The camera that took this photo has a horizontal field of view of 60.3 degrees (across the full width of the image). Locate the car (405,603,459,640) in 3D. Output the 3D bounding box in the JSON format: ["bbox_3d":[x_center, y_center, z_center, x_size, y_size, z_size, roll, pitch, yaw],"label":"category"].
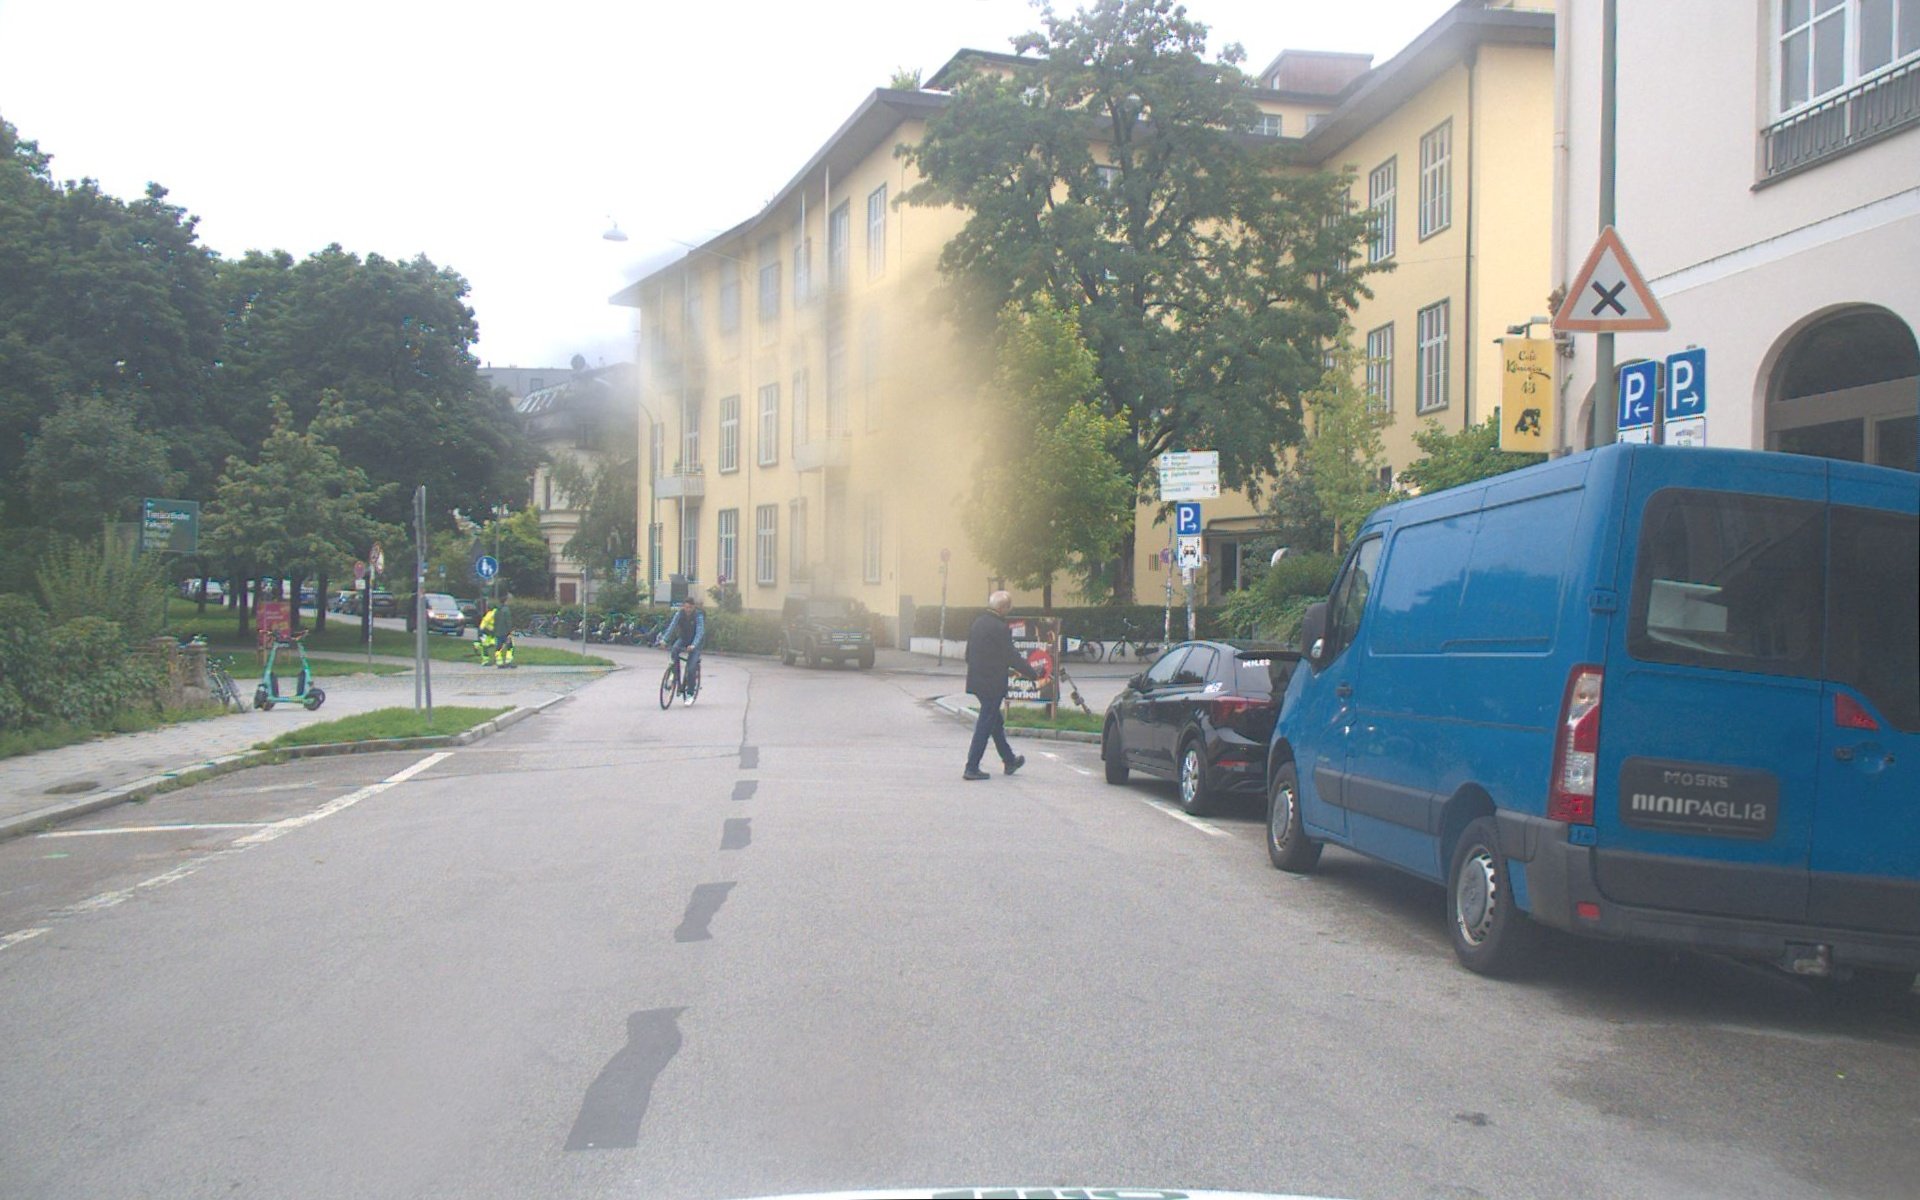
[{"bbox_3d":[-22.977,0.935,71.865,1.888,1.496,3.972,1,0,-23],"label":"car"}]

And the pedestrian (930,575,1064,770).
[{"bbox_3d":[0.361,0.711,16.218,0.949,1.832,0.920,2,-4,-44],"label":"pedestrian"}]

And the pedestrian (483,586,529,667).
[{"bbox_3d":[-11.739,0.675,42.807,0.913,2.049,0.956,1,0,-3],"label":"pedestrian"}]

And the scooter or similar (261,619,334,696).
[{"bbox_3d":[-10.787,0.926,26.947,0.338,1.209,1.117,1,0,31],"label":"scooter or similar"}]

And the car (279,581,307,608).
[{"bbox_3d":[-54.360,-0.446,134.805,1.967,2.197,3.970,1,0,-24],"label":"car"}]

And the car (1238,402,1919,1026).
[{"bbox_3d":[3.219,0.548,8.958,2.038,2.272,5.239,5,-2,-4],"label":"car"}]

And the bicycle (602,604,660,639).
[{"bbox_3d":[-12.596,0.828,63.357,2.140,1.328,0.722,1,0,-45],"label":"bicycle"}]

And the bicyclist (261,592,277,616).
[{"bbox_3d":[-43.583,0.251,104.357,0.787,1.496,0.884,1,0,-31],"label":"bicyclist"}]

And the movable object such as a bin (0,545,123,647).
[{"bbox_3d":[-30.278,-0.138,55.020,1.955,3.270,3.995,0,0,27],"label":"movable object such as a bin"}]

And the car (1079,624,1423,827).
[{"bbox_3d":[2.460,1.030,15.133,1.647,1.413,4.295,5,-1,-10],"label":"car"}]

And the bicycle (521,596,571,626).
[{"bbox_3d":[-18.757,0.506,74.913,2.121,1.328,0.729,1,0,-25],"label":"bicycle"}]

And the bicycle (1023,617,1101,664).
[{"bbox_3d":[2.798,1.096,45.316,2.023,1.222,0.596,1,0,16],"label":"bicycle"}]

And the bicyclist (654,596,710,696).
[{"bbox_3d":[-4.643,0.755,27.682,0.847,1.636,0.945,1,-1,-8],"label":"bicyclist"}]

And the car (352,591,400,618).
[{"bbox_3d":[-36.750,0.292,104.082,1.976,1.634,3.954,1,0,-33],"label":"car"}]

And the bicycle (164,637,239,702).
[{"bbox_3d":[-12.293,1.121,26.783,1.550,1.008,0.301,0,0,32],"label":"bicycle"}]

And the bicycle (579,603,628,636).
[{"bbox_3d":[-14.460,0.784,67.066,0.718,1.328,2.153,1,0,28],"label":"bicycle"}]

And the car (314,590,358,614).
[{"bbox_3d":[-42.808,0.139,113.457,1.976,1.634,3.954,1,0,-33],"label":"car"}]

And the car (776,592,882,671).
[{"bbox_3d":[-3.684,0.821,45.738,1.736,1.907,4.354,5,-1,-20],"label":"car"}]

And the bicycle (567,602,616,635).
[{"bbox_3d":[-15.069,0.746,67.688,0.718,1.328,2.153,1,0,28],"label":"bicycle"}]

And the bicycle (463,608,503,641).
[{"bbox_3d":[-18.013,0.910,62.480,0.738,1.236,2.115,0,0,-37],"label":"bicycle"}]

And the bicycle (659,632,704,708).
[{"bbox_3d":[-4.629,1.143,27.580,0.657,1.179,2.000,1,-1,-7],"label":"bicycle"}]

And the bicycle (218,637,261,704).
[{"bbox_3d":[-11.187,1.089,25.678,0.535,0.991,1.144,1,0,-27],"label":"bicycle"}]

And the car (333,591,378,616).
[{"bbox_3d":[-39.769,0.215,108.773,1.976,1.634,3.954,1,0,-33],"label":"car"}]

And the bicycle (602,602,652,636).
[{"bbox_3d":[-13.154,0.751,65.410,0.718,1.328,2.153,1,0,28],"label":"bicycle"}]

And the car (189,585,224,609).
[{"bbox_3d":[-56.130,-0.224,123.193,1.974,1.720,3.957,0,0,-31],"label":"car"}]

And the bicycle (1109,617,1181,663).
[{"bbox_3d":[5.052,1.085,45.225,1.883,1.222,0.595,1,0,-3],"label":"bicycle"}]

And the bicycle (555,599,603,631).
[{"bbox_3d":[-15.960,0.617,69.334,0.718,1.328,2.153,1,0,28],"label":"bicycle"}]

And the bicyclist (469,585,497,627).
[{"bbox_3d":[-18.025,0.219,62.482,0.738,1.547,0.933,0,0,-38],"label":"bicyclist"}]

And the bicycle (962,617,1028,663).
[{"bbox_3d":[0.981,1.108,46.555,1.891,1.222,0.592,1,0,39],"label":"bicycle"}]

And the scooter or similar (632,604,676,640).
[{"bbox_3d":[-11.558,0.815,62.569,0.716,1.328,2.157,1,0,17],"label":"scooter or similar"}]

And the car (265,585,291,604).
[{"bbox_3d":[-59.745,-0.456,144.863,1.967,1.634,3.970,1,0,-24],"label":"car"}]

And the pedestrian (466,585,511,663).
[{"bbox_3d":[-12.609,0.627,44.262,0.913,2.049,0.956,1,0,-3],"label":"pedestrian"}]

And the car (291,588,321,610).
[{"bbox_3d":[-50.117,-0.052,126.726,1.967,1.634,3.970,1,0,-24],"label":"car"}]

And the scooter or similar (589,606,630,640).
[{"bbox_3d":[-14.105,0.910,66.535,0.717,1.328,1.729,1,0,25],"label":"scooter or similar"}]

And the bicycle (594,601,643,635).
[{"bbox_3d":[-13.652,0.733,66.208,0.718,1.328,2.153,1,0,28],"label":"bicycle"}]

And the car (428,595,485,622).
[{"bbox_3d":[-26.614,0.432,87.398,1.974,1.396,3.957,1,0,-31],"label":"car"}]

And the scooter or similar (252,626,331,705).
[{"bbox_3d":[-10.573,1.027,26.181,1.092,1.209,0.345,1,0,3],"label":"scooter or similar"}]

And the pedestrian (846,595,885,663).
[{"bbox_3d":[-2.628,0.812,45.917,0.861,1.855,0.794,1,0,-19],"label":"pedestrian"}]
